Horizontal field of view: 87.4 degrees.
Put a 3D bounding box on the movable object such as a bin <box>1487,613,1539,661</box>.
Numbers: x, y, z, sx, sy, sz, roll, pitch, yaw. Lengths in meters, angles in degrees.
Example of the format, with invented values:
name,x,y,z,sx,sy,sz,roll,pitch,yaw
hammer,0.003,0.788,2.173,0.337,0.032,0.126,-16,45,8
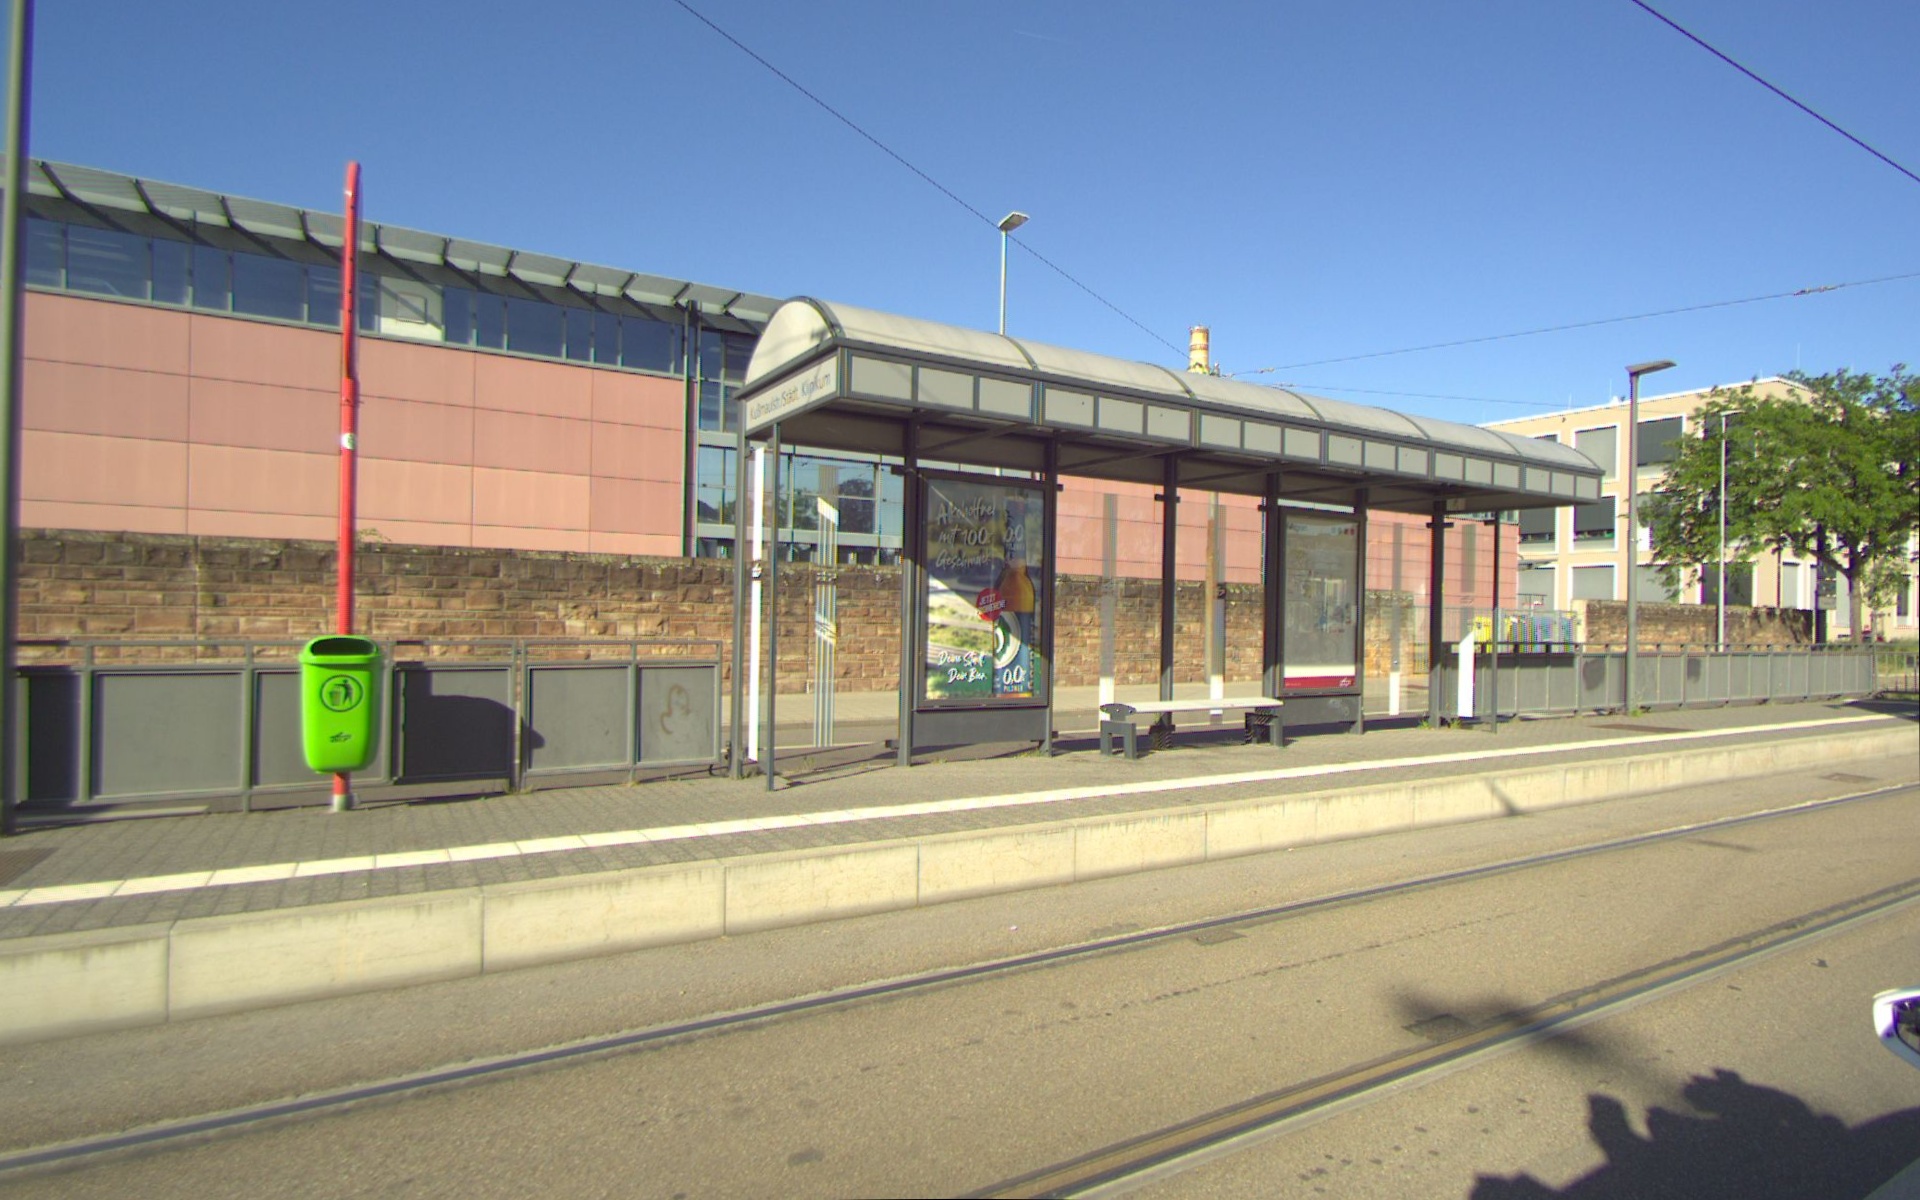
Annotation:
name,x,y,z,sx,sy,sz,roll,pitch,yaw
movable object such as a bin,17.206,1.141,31.259,1.295,1.466,0.876,2,-1,-32

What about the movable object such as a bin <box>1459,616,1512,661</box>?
name,x,y,z,sx,sy,sz,roll,pitch,yaw
movable object such as a bin,15.781,1.157,30.143,1.295,1.302,0.876,2,-1,-32

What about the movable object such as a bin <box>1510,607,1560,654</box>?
name,x,y,z,sx,sy,sz,roll,pitch,yaw
movable object such as a bin,18.543,0.982,32.401,1.295,1.466,0.876,2,-1,-32

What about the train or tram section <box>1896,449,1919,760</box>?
name,x,y,z,sx,sy,sz,roll,pitch,yaw
train or tram section,14.250,0.128,11.977,6.591,3.506,2.790,1,0,-31
